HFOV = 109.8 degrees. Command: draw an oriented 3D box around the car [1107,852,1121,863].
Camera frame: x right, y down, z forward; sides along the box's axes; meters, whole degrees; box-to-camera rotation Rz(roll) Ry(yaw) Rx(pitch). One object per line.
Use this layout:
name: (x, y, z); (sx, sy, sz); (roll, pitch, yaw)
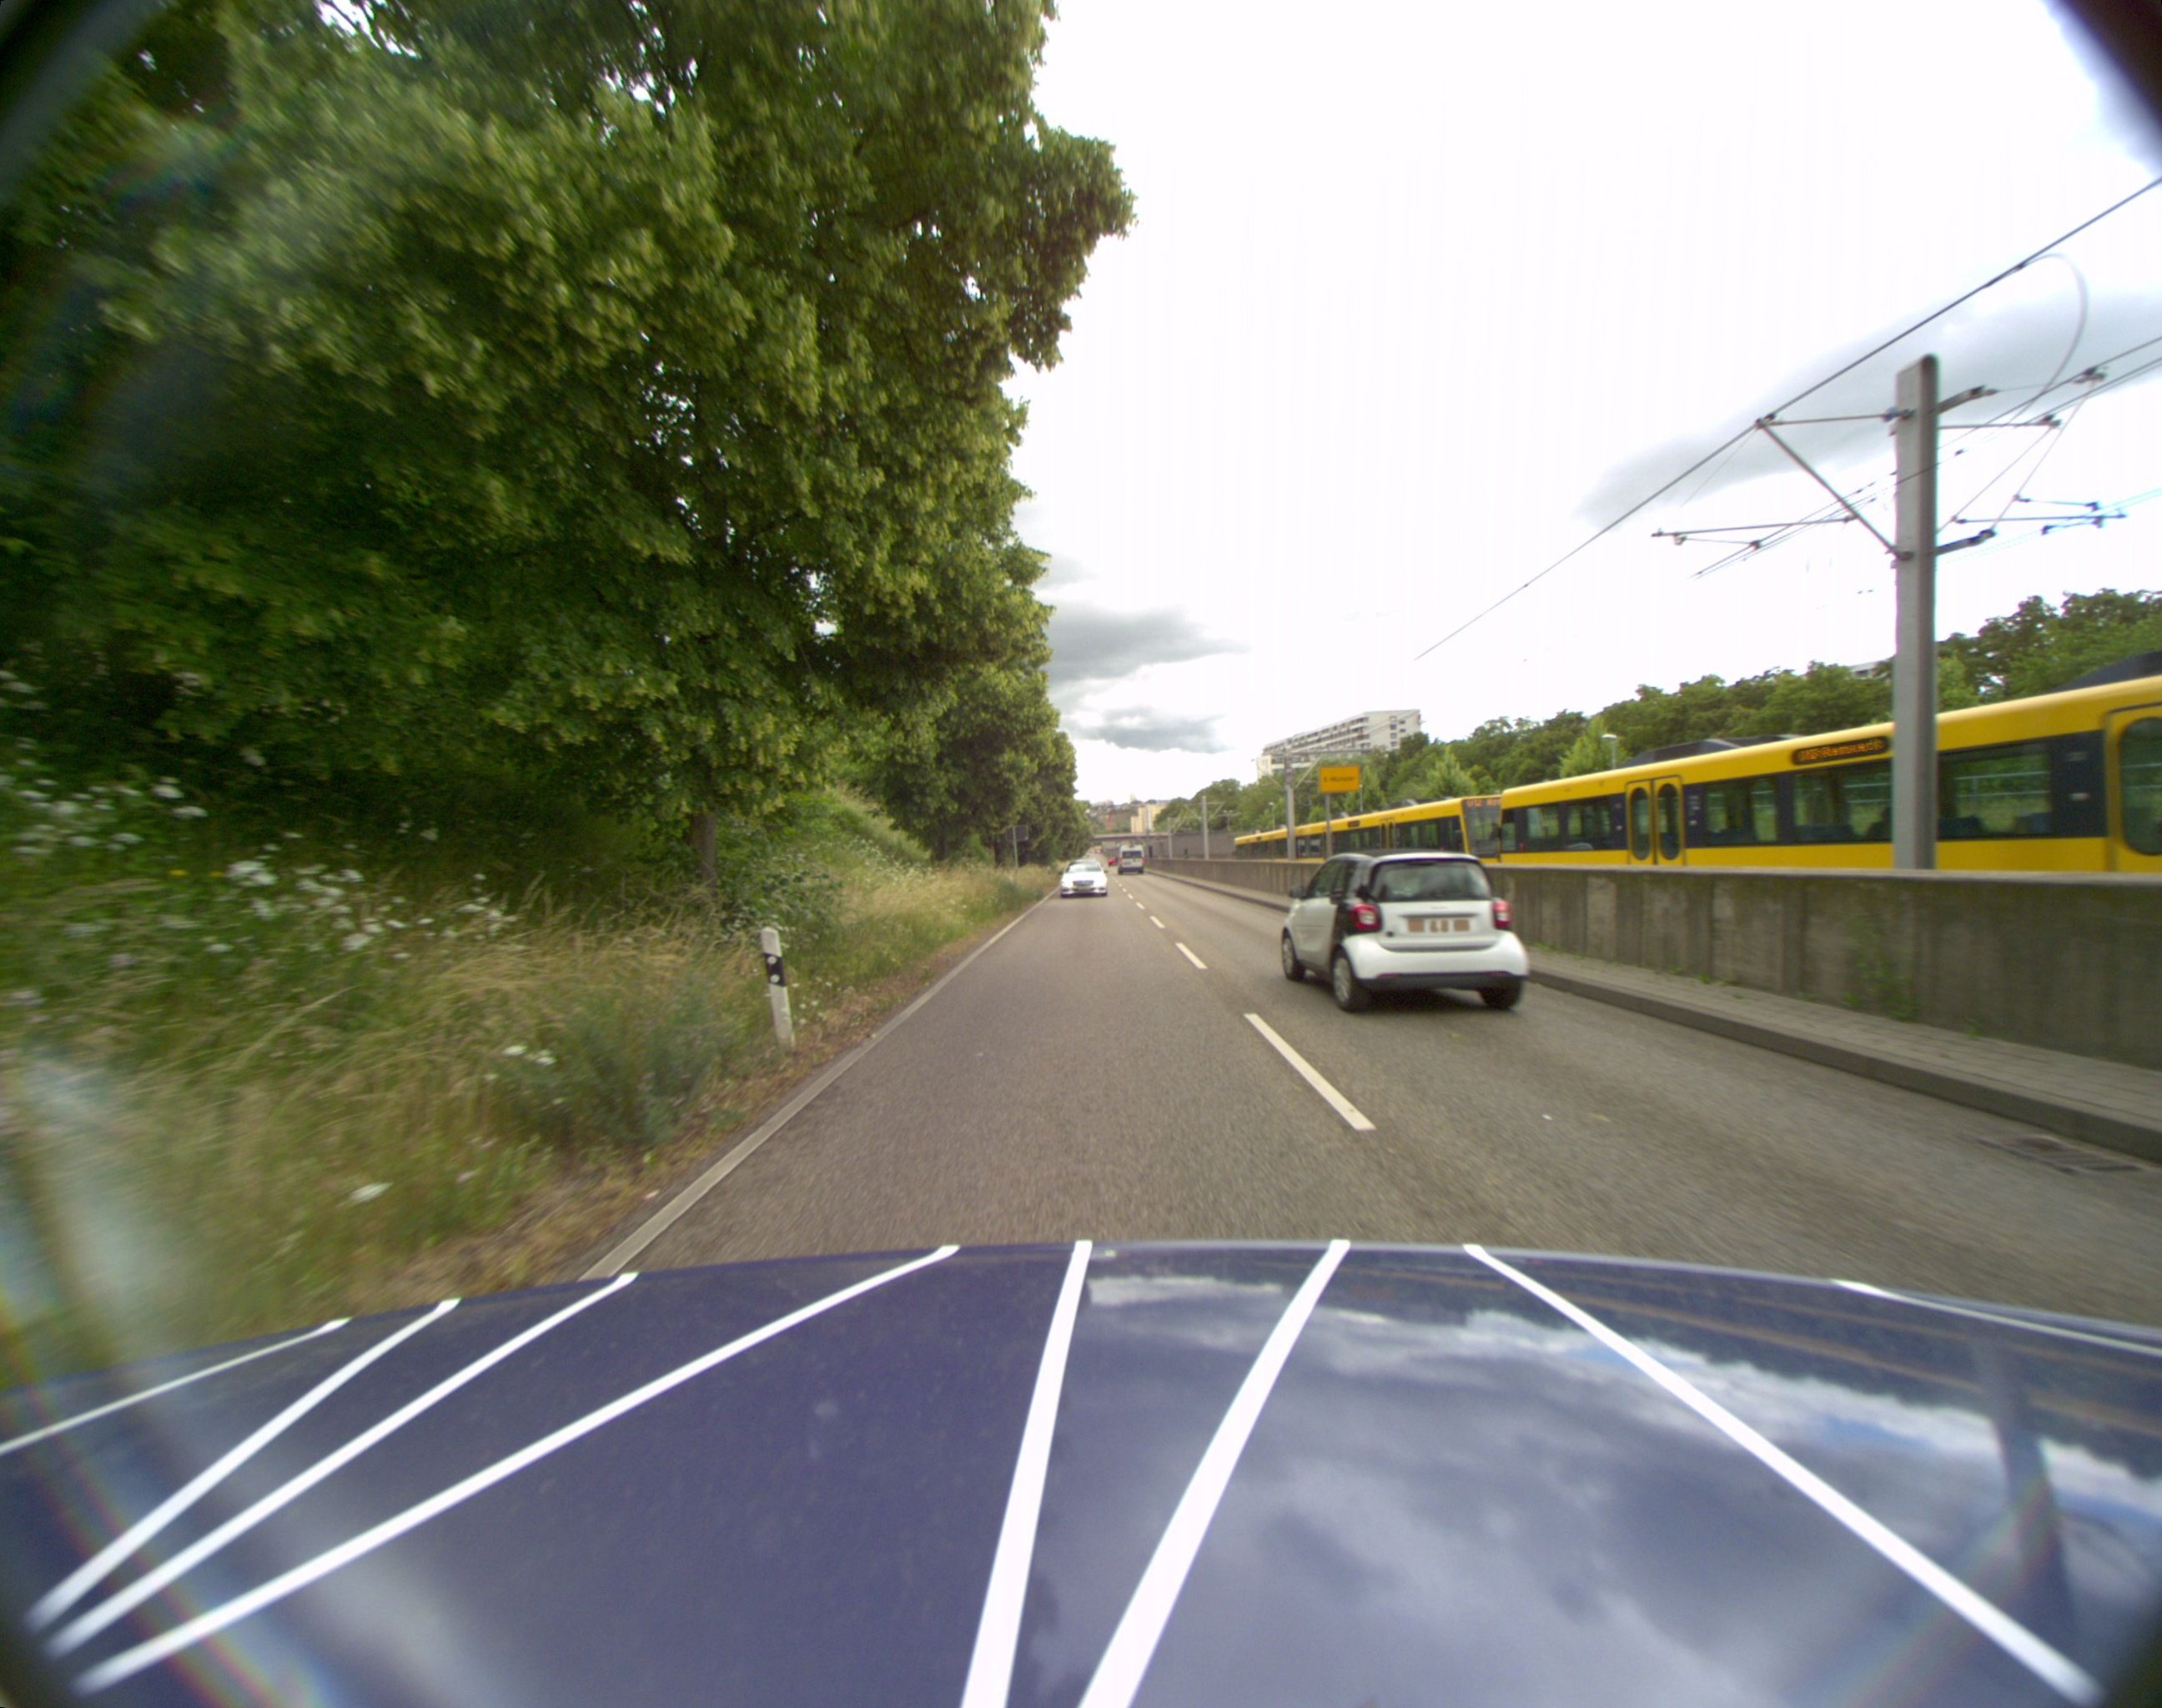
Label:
car: (5.212, 0.523, 119.338); (1.998, 1.630, 4.000); (-1, 0, 1)

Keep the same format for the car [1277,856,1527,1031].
car: (3.223, 0.809, 8.161); (1.599, 1.531, 2.697); (-1, 0, 2)

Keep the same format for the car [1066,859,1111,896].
car: (0.371, 0.981, 33.015); (1.739, 1.366, 4.000); (-2, 1, 3)

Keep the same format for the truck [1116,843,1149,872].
truck: (4.554, 0.265, 68.455); (2.456, 2.412, 8.211); (-2, 1, 1)

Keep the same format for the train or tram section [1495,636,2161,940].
train or tram section: (12.664, -0.774, 11.287); (2.788, 3.175, 18.470); (-2, 1, 0)

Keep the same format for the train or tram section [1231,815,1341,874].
train or tram section: (13.059, -0.564, 50.758); (2.718, 3.172, 17.566); (-2, 0, 1)

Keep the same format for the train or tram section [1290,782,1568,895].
train or tram section: (12.823, -0.491, 31.961); (2.742, 3.196, 19.915); (-2, 0, 1)
